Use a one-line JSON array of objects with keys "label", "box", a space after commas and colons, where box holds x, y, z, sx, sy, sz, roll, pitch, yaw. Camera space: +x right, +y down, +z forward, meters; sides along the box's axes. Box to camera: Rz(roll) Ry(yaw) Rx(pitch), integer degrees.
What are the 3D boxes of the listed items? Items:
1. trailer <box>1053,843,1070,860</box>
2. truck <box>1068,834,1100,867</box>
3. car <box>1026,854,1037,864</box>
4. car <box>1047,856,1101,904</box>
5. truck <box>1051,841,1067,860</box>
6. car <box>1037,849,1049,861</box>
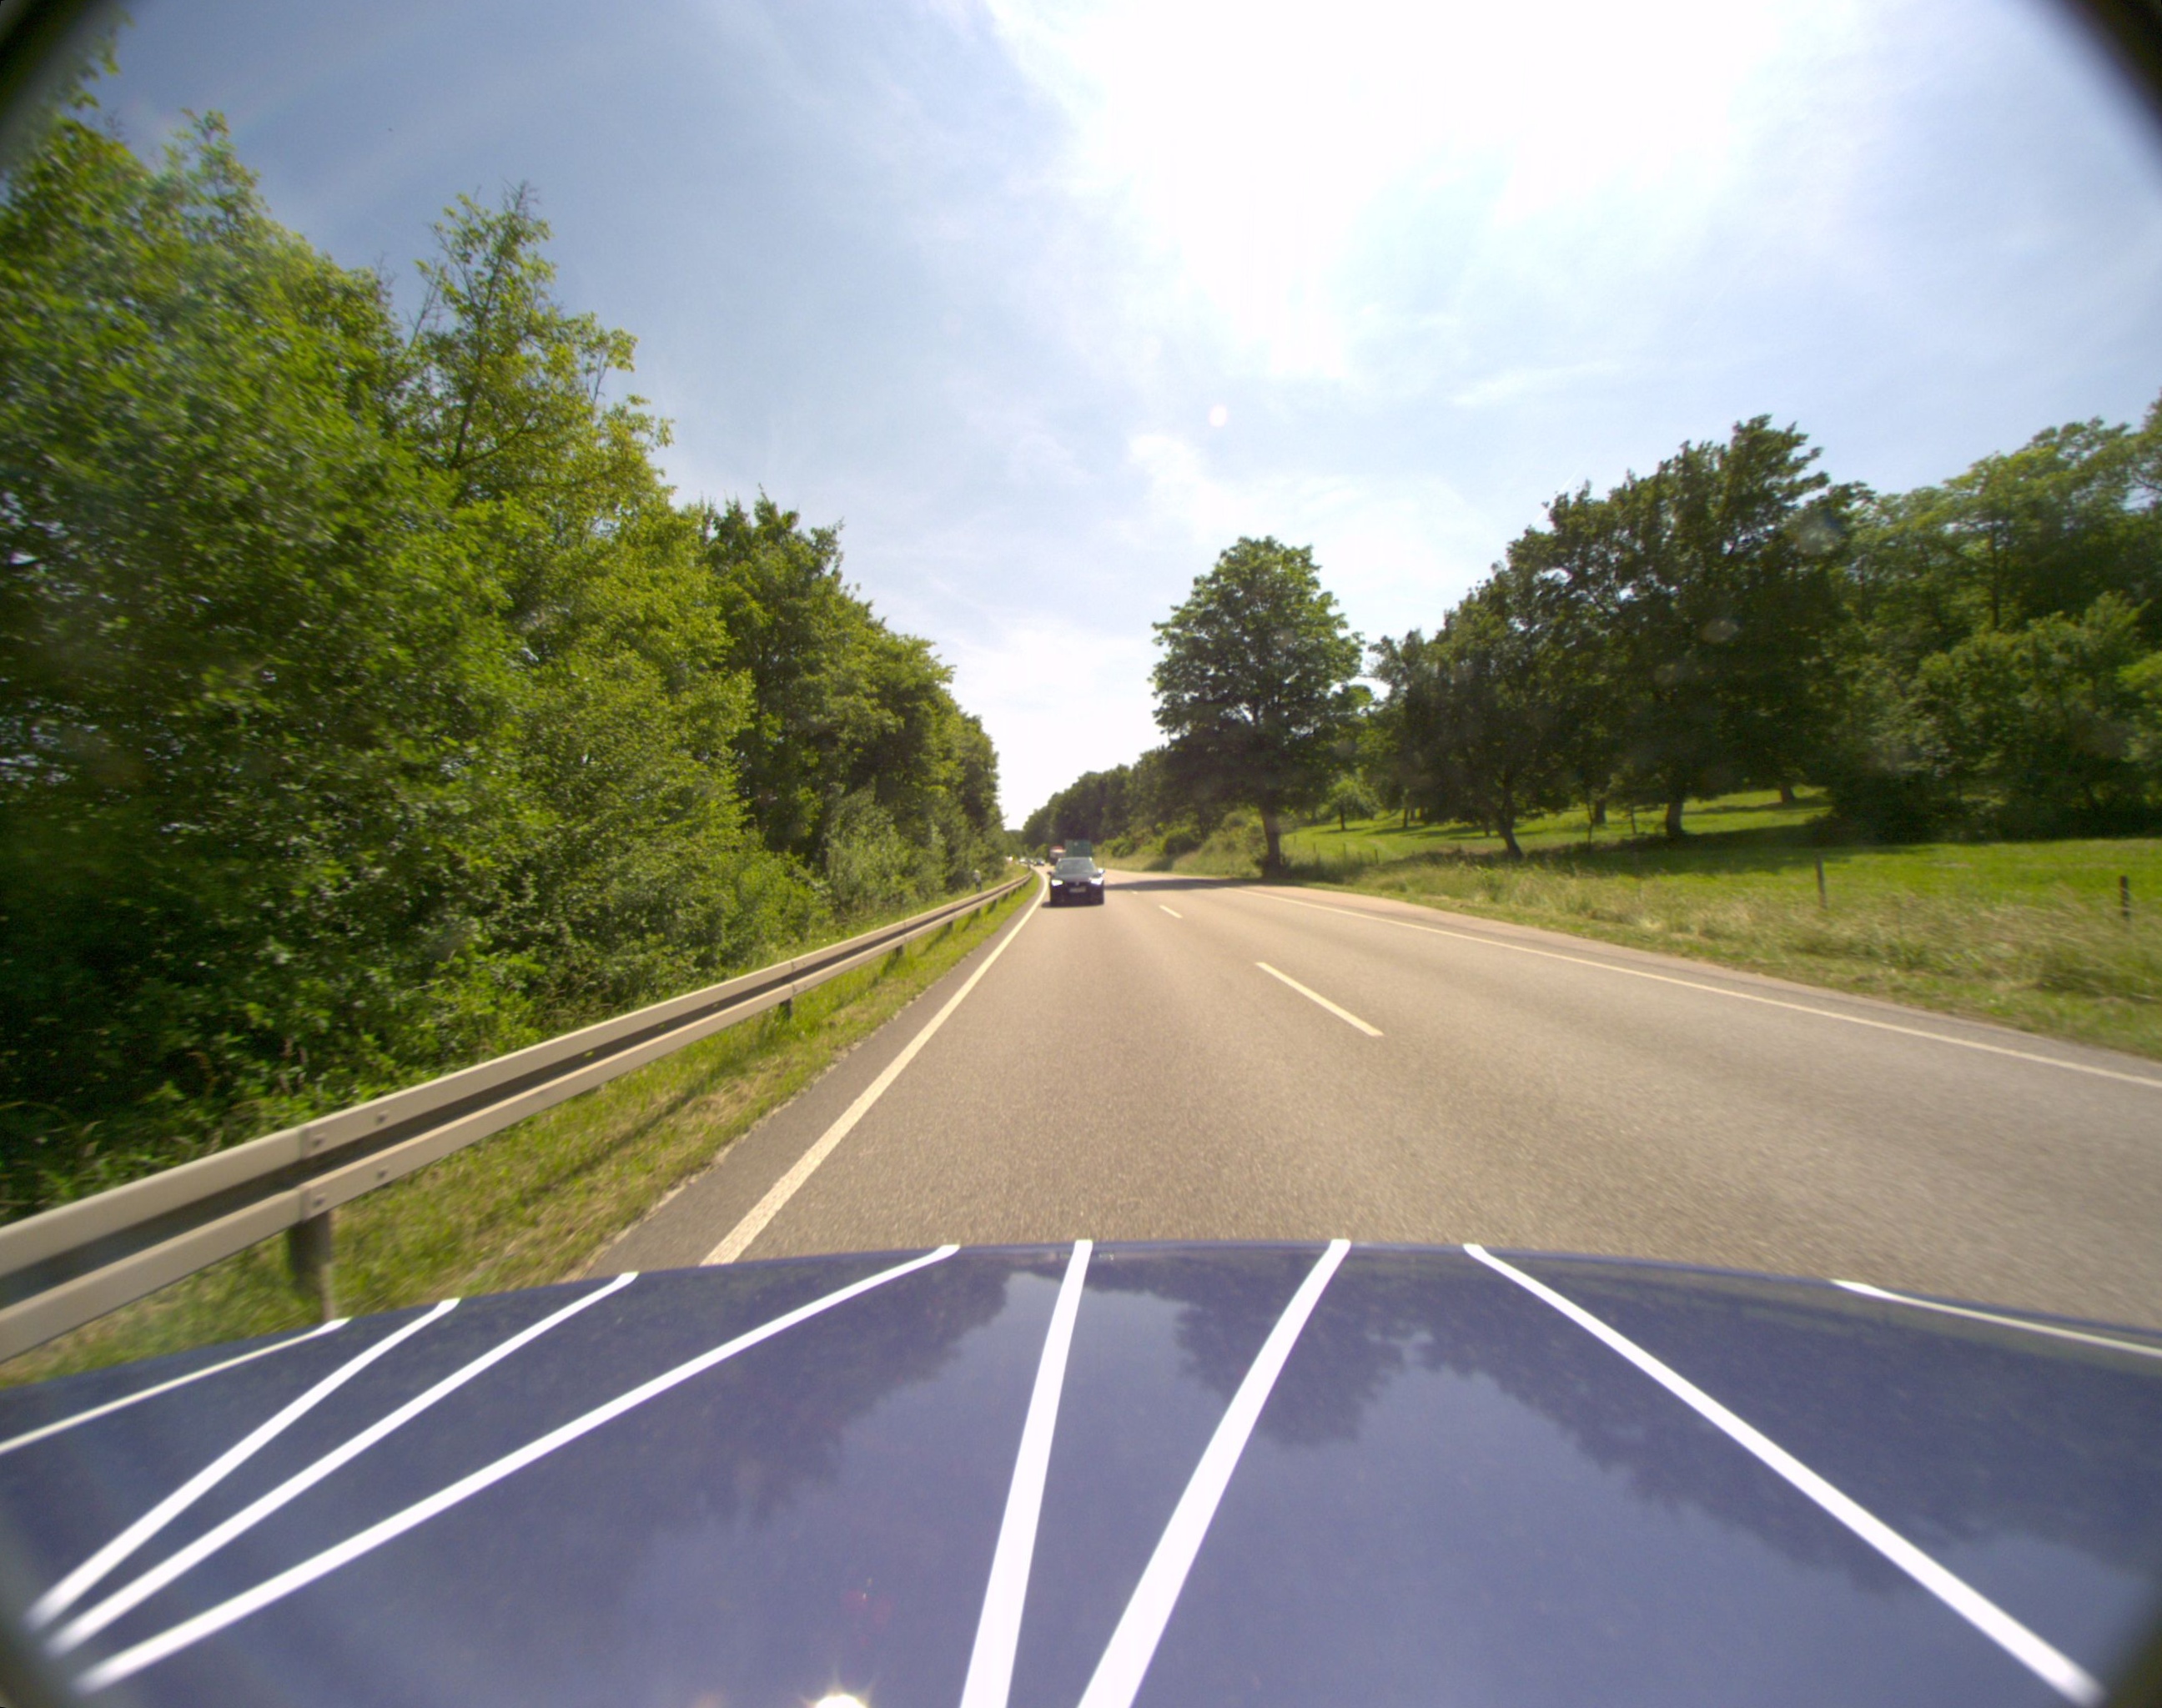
[{"label": "trailer", "box": [-3.524, -0.436, 136.708, 2.651, 2.856, 7.073, -2, 1, -5]}, {"label": "truck", "box": [0.192, -0.361, 102.112, 2.568, 3.916, 16.153, -3, 0, -5]}, {"label": "car", "box": [-11.027, 1.032, 169.305, 2.000, 2.002, 3.997, -3, 1, -7]}, {"label": "car", "box": [-0.303, 0.892, 27.208, 1.662, 1.531, 3.485, -2, 0, -4]}, {"label": "truck", "box": [-4.167, -0.635, 143.930, 2.538, 3.539, 7.757, -2, 1, -4]}, {"label": "car", "box": [-6.758, 0.173, 133.959, 1.999, 2.002, 3.998, -3, 1, -4]}]
